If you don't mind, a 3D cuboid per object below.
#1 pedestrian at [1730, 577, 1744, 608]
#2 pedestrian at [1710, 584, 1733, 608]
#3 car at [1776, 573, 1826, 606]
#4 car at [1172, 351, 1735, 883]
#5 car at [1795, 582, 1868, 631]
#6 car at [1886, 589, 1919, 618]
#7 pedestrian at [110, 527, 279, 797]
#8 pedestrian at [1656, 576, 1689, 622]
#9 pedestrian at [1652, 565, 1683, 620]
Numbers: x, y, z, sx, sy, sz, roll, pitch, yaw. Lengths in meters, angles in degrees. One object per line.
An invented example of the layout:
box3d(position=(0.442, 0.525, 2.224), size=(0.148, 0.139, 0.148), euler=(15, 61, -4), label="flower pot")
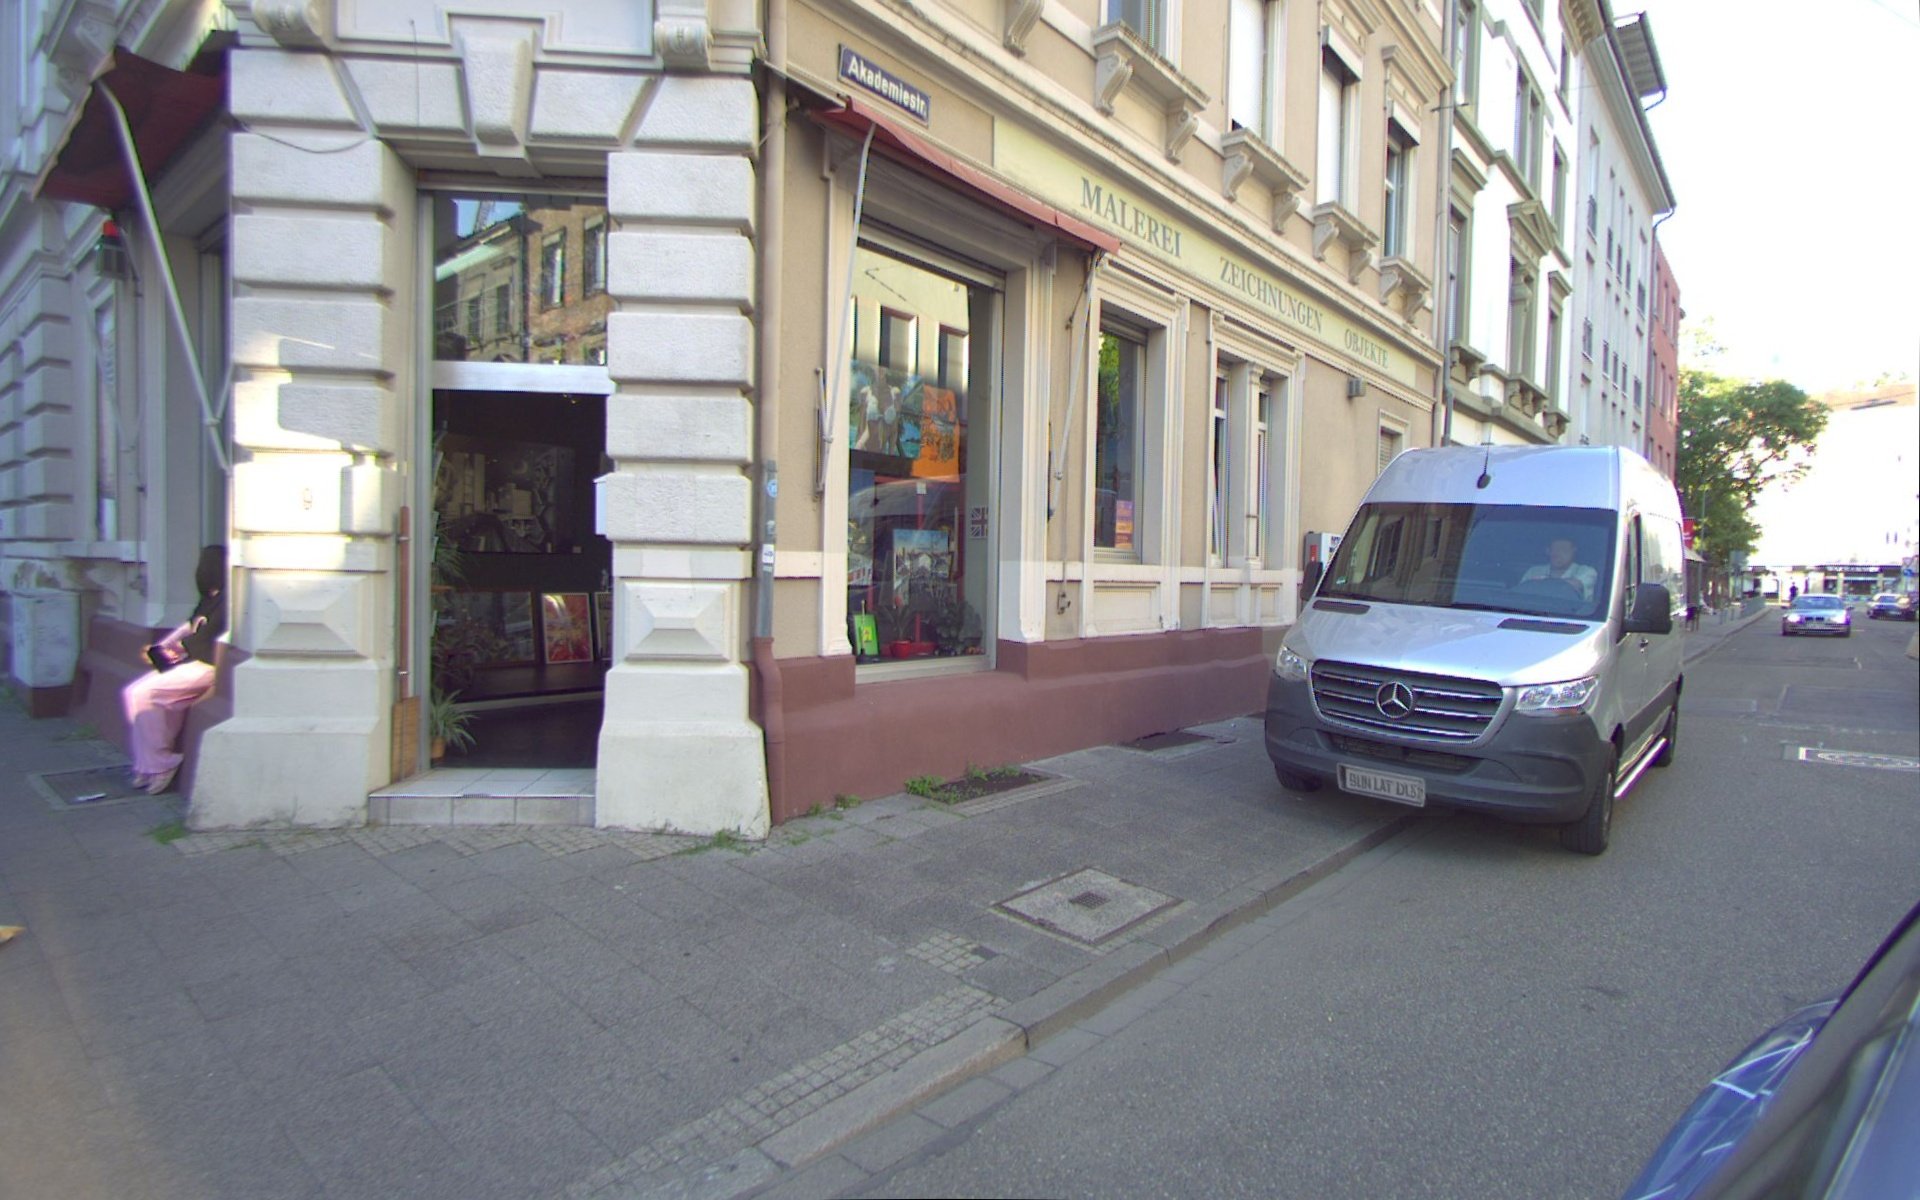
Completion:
box3d(position=(42.175, -0.414, 54.905), size=(0.548, 1.666, 0.438), euler=(0, 3, -42), label="pedestrian")
box3d(position=(41.551, -0.208, 55.220), size=(0.924, 1.264, 0.357), euler=(4, 3, 39), label="pedestrian")
box3d(position=(53.155, -0.686, 63.967), size=(3.935, 2.038, 1.995), euler=(-1, 2, -44), label="car")
box3d(position=(4.191, 0.009, 7.749), size=(2.276, 2.469, 6.110), euler=(2, 2, 42), label="car")
box3d(position=(29.305, 0.177, 34.116), size=(1.781, 1.543, 3.943), euler=(0, 1, 40), label="car")
box3d(position=(53.496, 0.191, 56.885), size=(1.995, 1.434, 4.487), euler=(5, 5, 43), label="car")
box3d(position=(-4.552, 0.328, 6.030), size=(0.578, 1.490, 0.706), euler=(1, 1, 41), label="pedestrian")
box3d(position=(24.419, -0.043, 34.699), size=(0.824, 1.504, 0.651), euler=(3, 2, 40), label="pedestrian")
box3d(position=(23.907, -0.267, 34.207), size=(0.654, 1.814, 0.723), euler=(5, 4, 28), label="pedestrian")
